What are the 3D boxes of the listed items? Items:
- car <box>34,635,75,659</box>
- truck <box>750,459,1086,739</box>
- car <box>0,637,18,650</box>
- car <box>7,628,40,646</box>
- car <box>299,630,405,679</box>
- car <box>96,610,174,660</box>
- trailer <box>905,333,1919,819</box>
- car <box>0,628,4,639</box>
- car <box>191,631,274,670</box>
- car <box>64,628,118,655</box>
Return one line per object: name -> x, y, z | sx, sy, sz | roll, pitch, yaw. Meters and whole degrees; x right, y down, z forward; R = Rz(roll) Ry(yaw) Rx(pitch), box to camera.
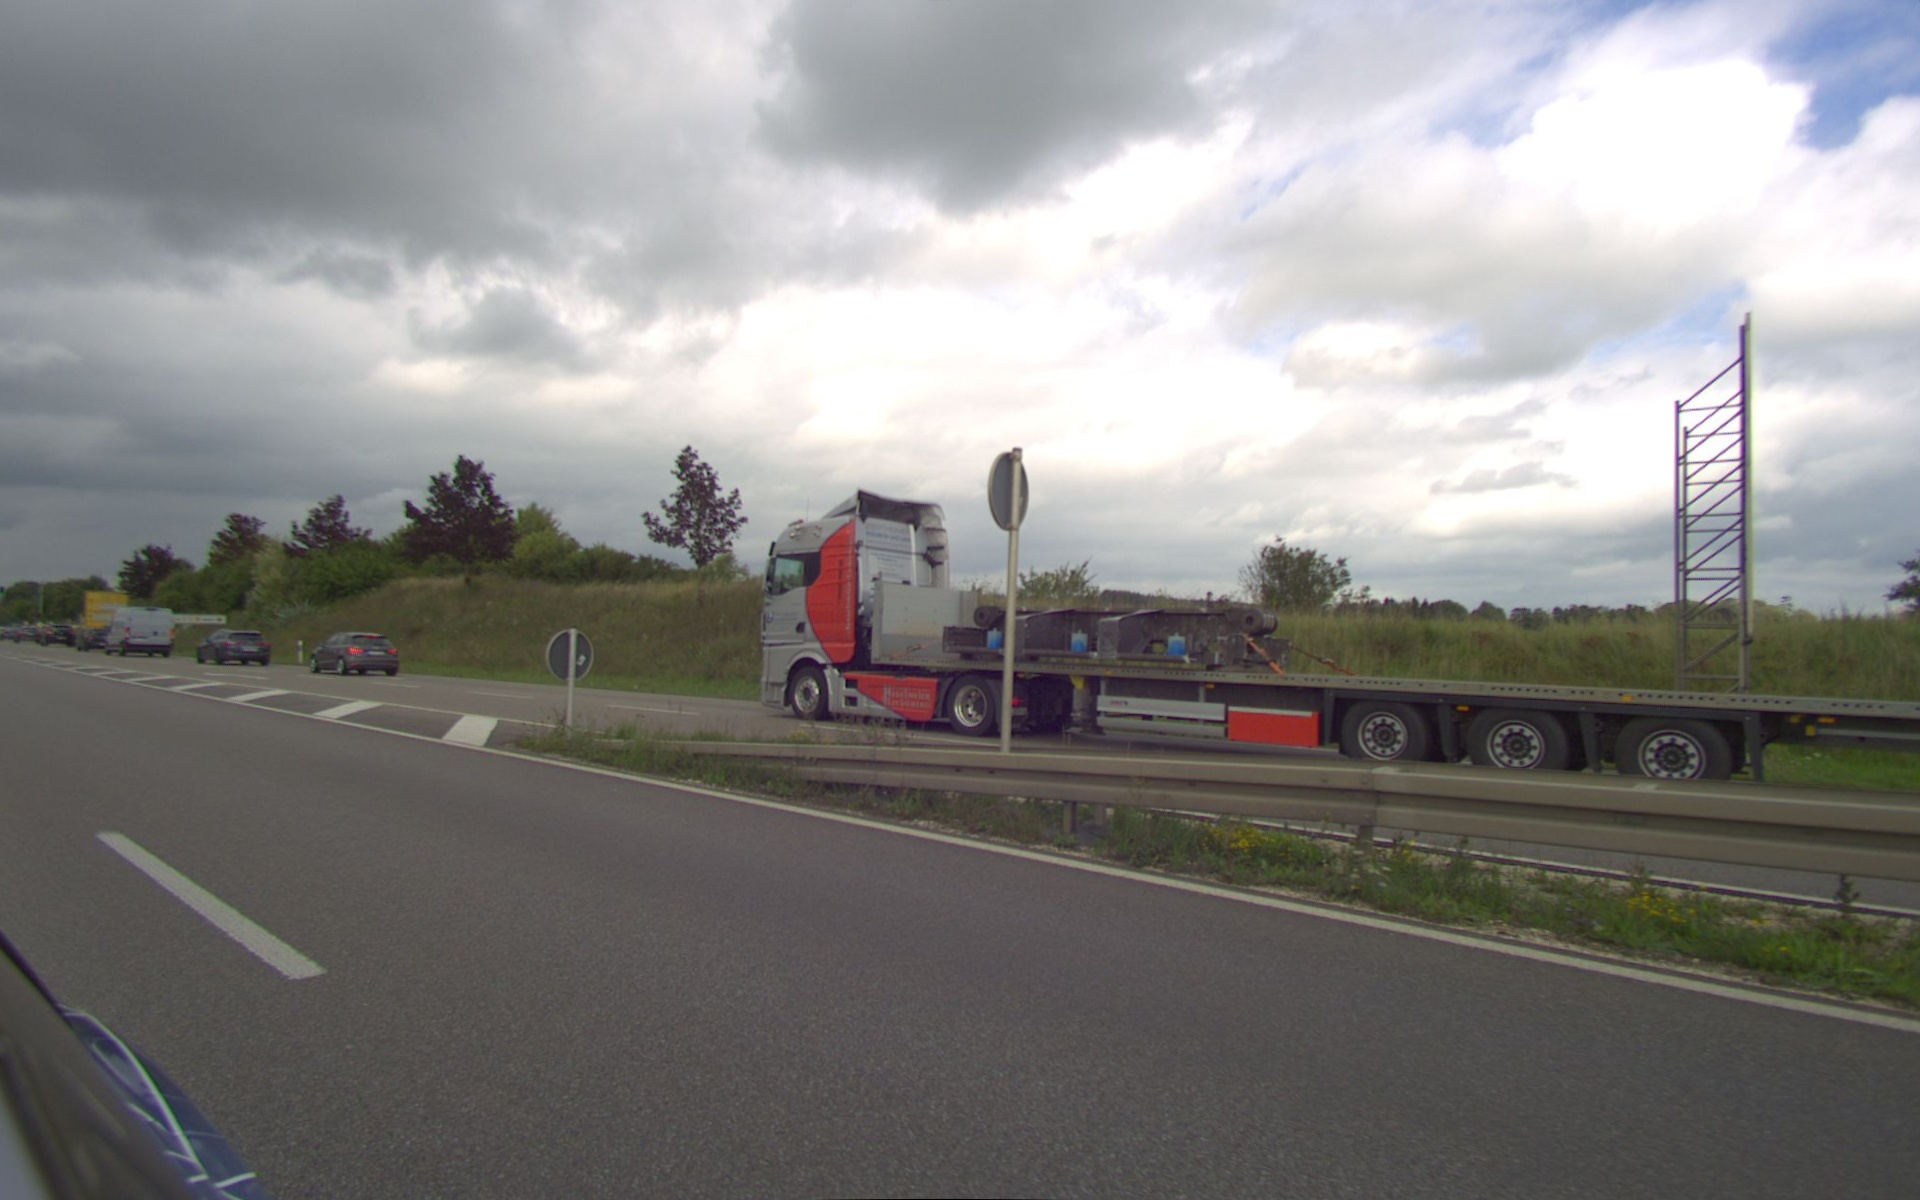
car -> -67.921, 3.523, 75.880 | 4.515, 1.647, 1.775 | -2, -6, 42
truck -> -0.817, 0.081, 17.353 | 5.282, 4.028, 2.774 | -2, -3, 40
car -> -104.571, 4.742, 110.667 | 4.704, 1.416, 1.775 | -2, -6, 42
car -> -86.632, 3.444, 93.587 | 4.704, 1.523, 1.775 | -2, -6, 42
car -> -20.378, 1.824, 33.881 | 4.190, 1.542, 1.715 | -2, -5, 40
car -> -42.934, 1.846, 52.625 | 5.630, 2.458, 2.012 | -2, -5, 40
trailer -> 4.999, -0.050, 12.444 | 12.973, 3.977, 2.747 | -2, -3, 40
car -> -125.757, 4.335, 131.731 | 4.055, 1.425, 1.590 | -2, -4, 42
car -> -30.483, 2.113, 42.348 | 4.545, 1.542, 1.715 | -2, -5, 40
car -> -52.471, 2.534, 61.093 | 4.190, 1.542, 1.715 | -2, -5, 40
